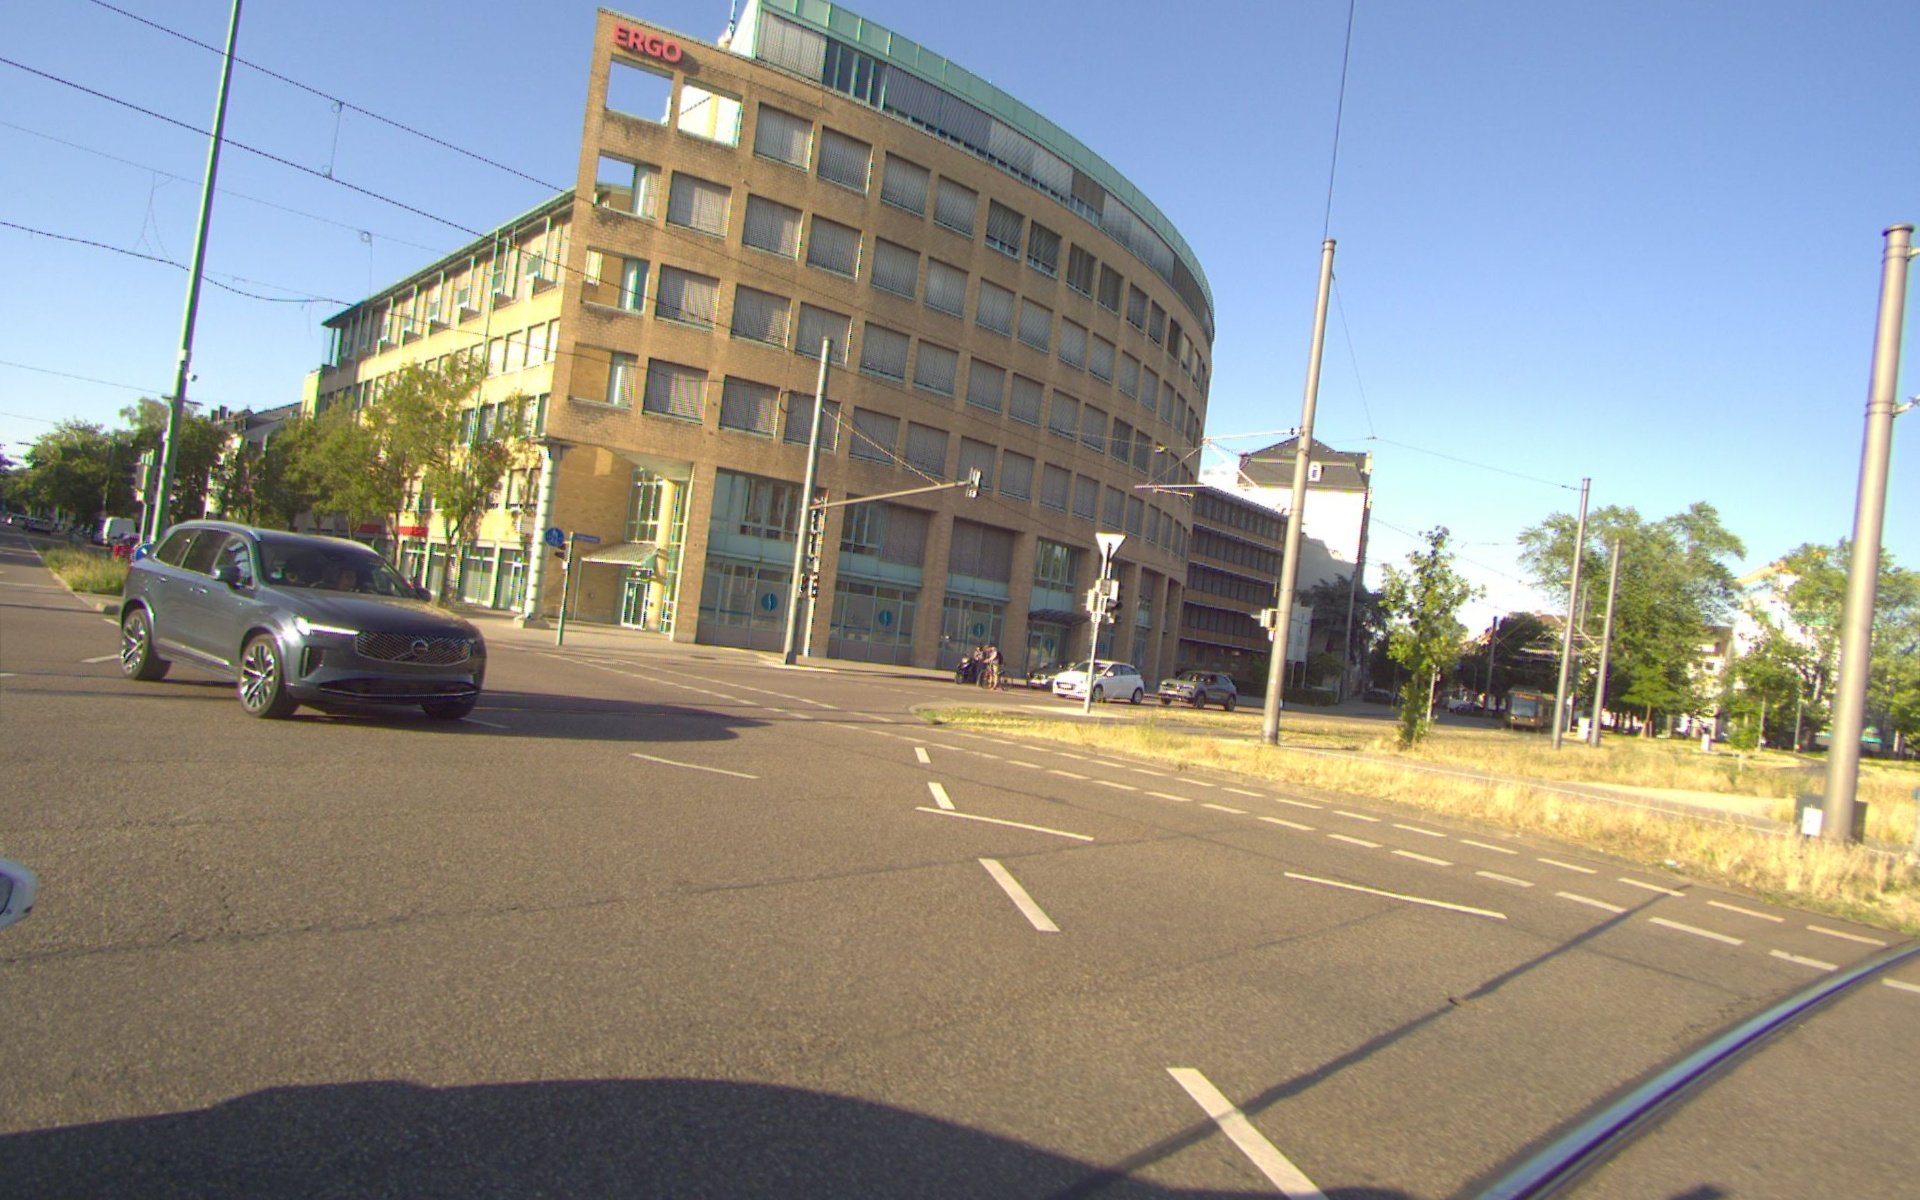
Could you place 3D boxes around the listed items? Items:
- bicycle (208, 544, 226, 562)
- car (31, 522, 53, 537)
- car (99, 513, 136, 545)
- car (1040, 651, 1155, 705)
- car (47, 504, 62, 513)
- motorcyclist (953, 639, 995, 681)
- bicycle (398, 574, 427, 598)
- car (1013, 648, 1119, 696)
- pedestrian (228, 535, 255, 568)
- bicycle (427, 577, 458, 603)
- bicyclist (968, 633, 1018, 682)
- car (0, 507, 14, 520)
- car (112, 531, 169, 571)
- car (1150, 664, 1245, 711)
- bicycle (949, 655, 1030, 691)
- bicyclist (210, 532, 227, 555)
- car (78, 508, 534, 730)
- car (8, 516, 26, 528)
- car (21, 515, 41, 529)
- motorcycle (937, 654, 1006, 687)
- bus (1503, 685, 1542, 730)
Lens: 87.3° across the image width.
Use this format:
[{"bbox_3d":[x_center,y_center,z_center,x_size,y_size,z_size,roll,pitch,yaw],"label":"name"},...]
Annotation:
[{"bbox_3d":[-47.260,-2.984,64.006,0.591,0.953,1.954,10,-2,-43],"label":"bicycle"},{"bbox_3d":[-98.066,-7.517,107.492,1.590,1.282,3.226,8,-2,-43],"label":"car"},{"bbox_3d":[-73.561,-6.216,87.815,1.989,2.468,3.951,10,-3,-43],"label":"car"},{"bbox_3d":[5.045,2.860,36.524,1.969,1.509,4.155,6,-3,44],"label":"car"},{"bbox_3d":[-149.361,-15.076,165.947,1.590,1.282,3.226,8,-2,-43],"label":"car"},{"bbox_3d":[0.530,2.311,38.987,1.063,1.452,1.019,8,-2,-45],"label":"motorcyclist"},{"bbox_3d":[-27.553,-0.723,50.632,0.644,1.006,2.055,8,-2,-44],"label":"bicycle"},{"bbox_3d":[4.589,3.106,43.168,4.470,1.555,1.962,9,-3,-43],"label":"car"},{"bbox_3d":[-47.855,-3.247,66.998,1.105,1.999,1.147,8,-1,-44],"label":"pedestrian"},{"bbox_3d":[-24.321,-0.482,47.249,0.644,1.006,2.055,8,-2,-44],"label":"bicycle"},{"bbox_3d":[1.194,2.088,36.420,1.139,1.590,1.220,6,-1,45],"label":"bicyclist"},{"bbox_3d":[-150.793,-13.705,158.897,1.882,1.689,3.951,10,-3,-43],"label":"car"},{"bbox_3d":[-38.682,-2.319,47.458,1.666,1.479,3.951,10,-3,-43],"label":"car"},{"bbox_3d":[9.790,3.614,41.305,1.797,1.509,4.043,5,-3,45],"label":"car"},{"bbox_3d":[1.094,2.651,36.382,1.139,1.012,2.955,6,-2,44],"label":"bicycle"},{"bbox_3d":[-47.159,-3.594,64.004,0.591,1.384,0.918,10,-2,-43],"label":"bicyclist"},{"bbox_3d":[-7.007,0.131,10.619,4.948,1.743,1.997,5,-2,32],"label":"car"},{"bbox_3d":[-123.376,-10.230,131.626,1.590,1.282,3.226,8,-2,-43],"label":"car"},{"bbox_3d":[-109.792,-9.199,118.900,1.590,1.282,3.226,8,-2,-43],"label":"car"},{"bbox_3d":[0.469,2.736,38.972,1.019,0.975,2.712,6,-3,45],"label":"motorcycle"},{"bbox_3d":[47.000,8.978,83.971,2.370,3.246,11.107,6,-2,30],"label":"bus"}]
